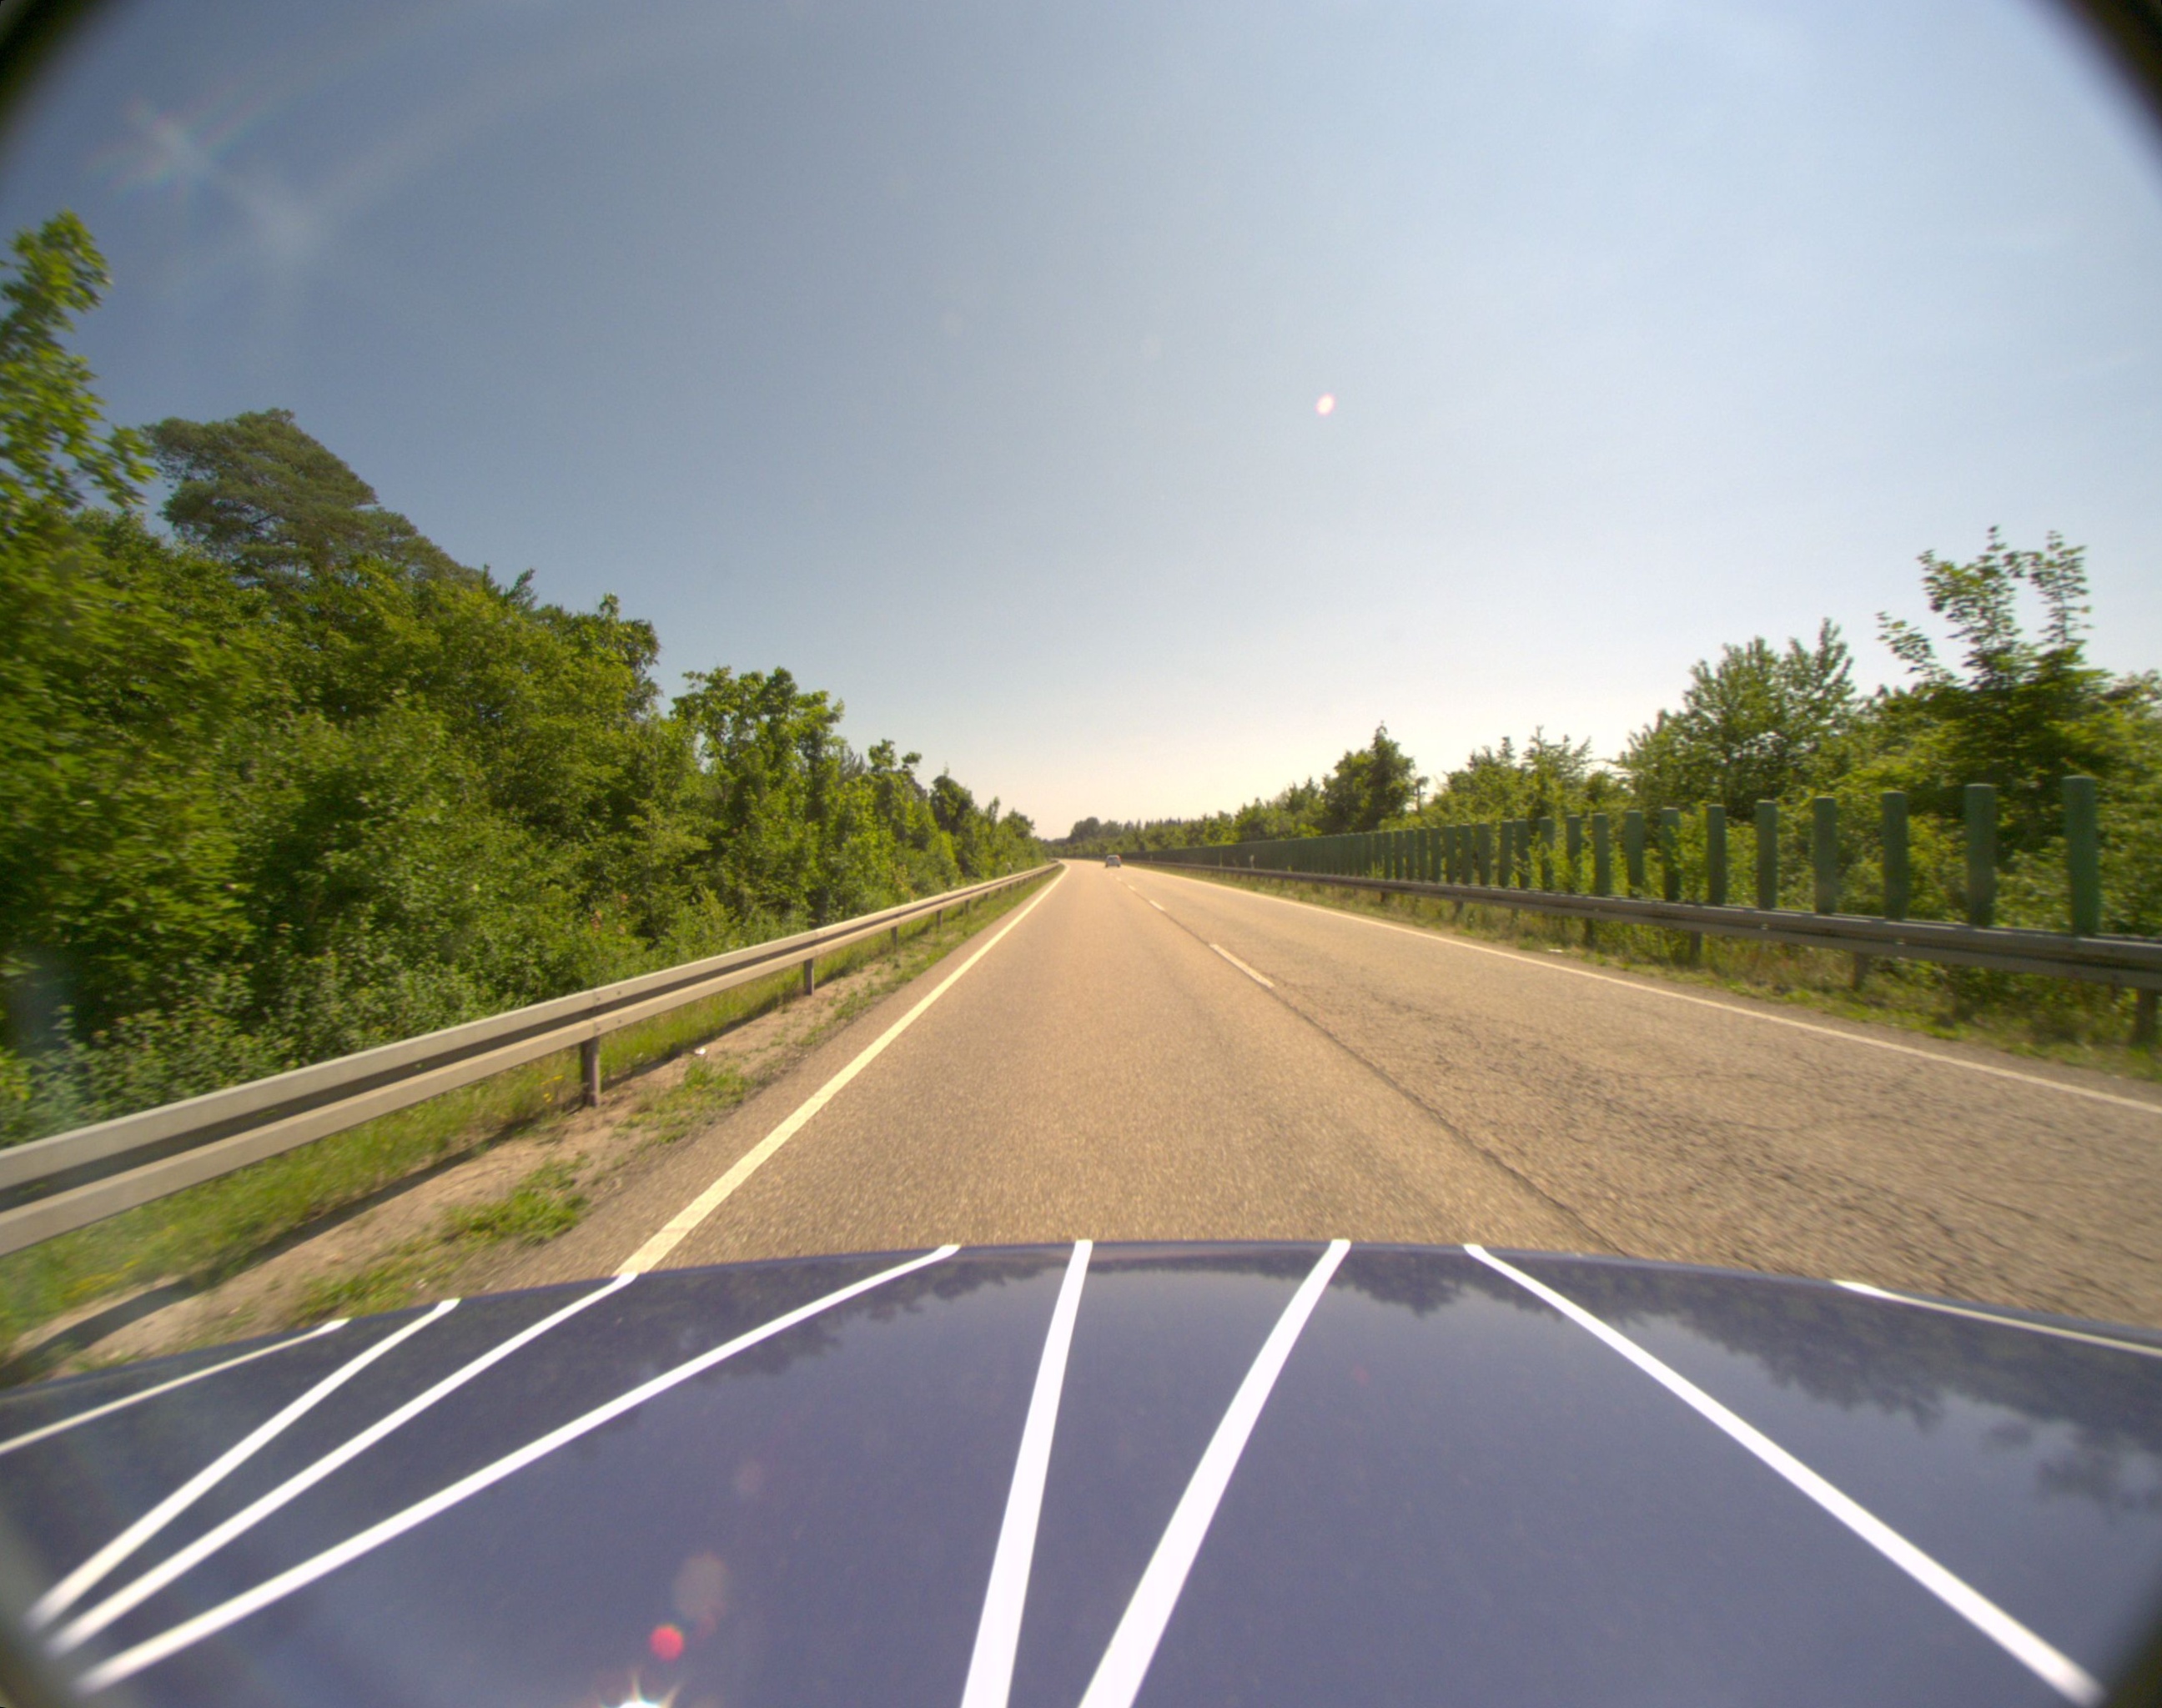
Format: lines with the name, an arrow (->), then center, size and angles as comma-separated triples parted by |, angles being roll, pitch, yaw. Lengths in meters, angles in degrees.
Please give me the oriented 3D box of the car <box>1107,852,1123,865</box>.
car -> 4.250, 0.546, 95.216 | 1.724, 1.492, 4.248 | -2, 0, 0
